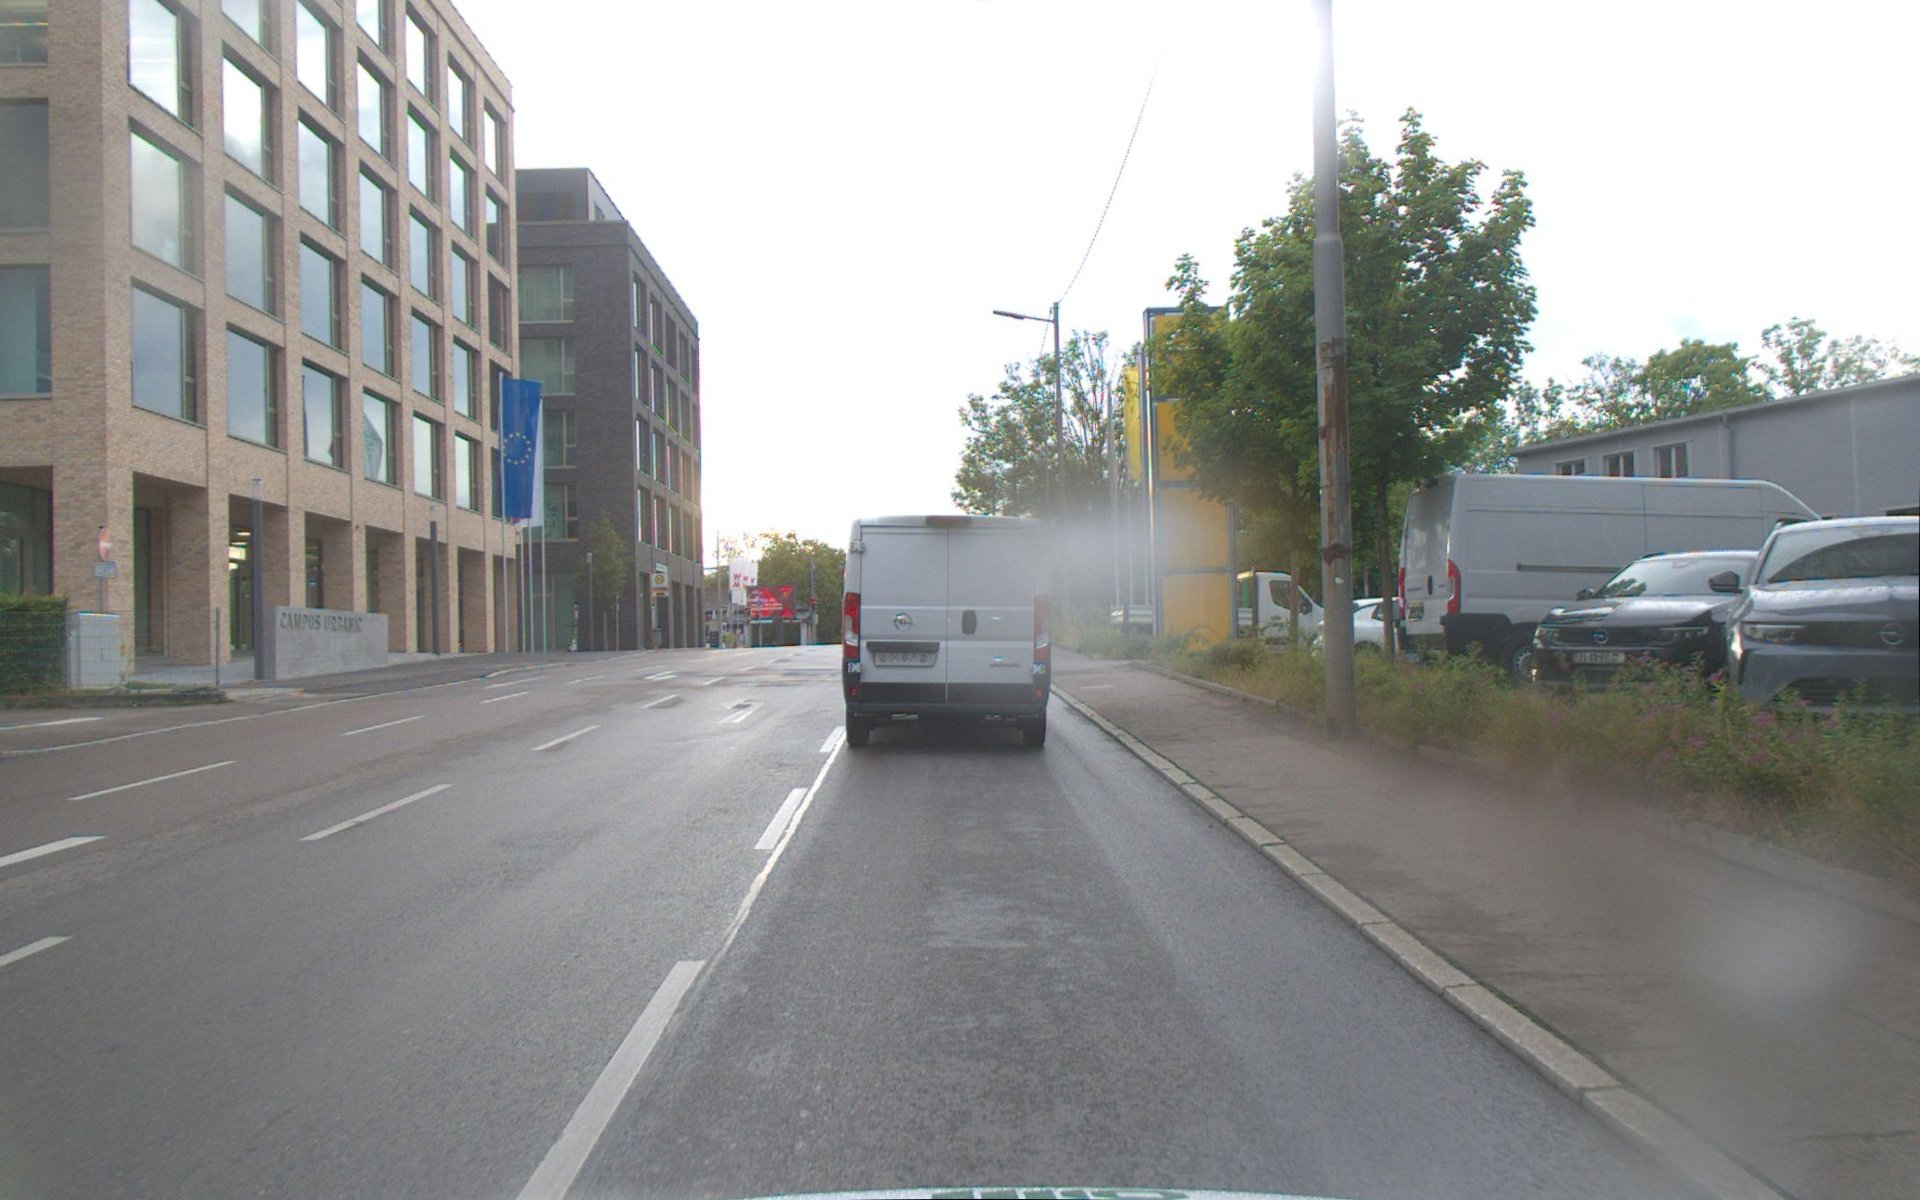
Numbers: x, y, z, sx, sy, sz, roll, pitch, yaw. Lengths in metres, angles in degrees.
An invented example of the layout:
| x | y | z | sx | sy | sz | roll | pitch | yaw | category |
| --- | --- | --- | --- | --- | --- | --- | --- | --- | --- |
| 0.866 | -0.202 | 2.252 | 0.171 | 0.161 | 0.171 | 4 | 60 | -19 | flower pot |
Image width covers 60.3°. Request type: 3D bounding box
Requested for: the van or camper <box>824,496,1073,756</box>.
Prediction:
| x | y | z | sx | sy | sz | roll | pitch | yaw | category |
| --- | --- | --- | --- | --- | --- | --- | --- | --- | --- |
| -0.119 | 0.228 | 17.869 | 2.292 | 2.398 | 5.199 | 0 | 0 | 0 | van or camper |

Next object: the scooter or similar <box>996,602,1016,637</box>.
| x | y | z | sx | sy | sz | roll | pitch | yaw | category |
| --- | --- | --- | --- | --- | --- | --- | --- | --- | --- |
| 2.146 | 0.895 | 77.064 | 0.428 | 1.615 | 1.263 | 0 | 0 | -23 | scooter or similar |

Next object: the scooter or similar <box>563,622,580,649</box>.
| x | y | z | sx | sy | sz | roll | pitch | yaw | category |
| --- | --- | --- | --- | --- | --- | --- | --- | --- | --- |
| -16.146 | 1.485 | 68.759 | 0.343 | 1.090 | 1.428 | 0 | -2 | 0 | scooter or similar |

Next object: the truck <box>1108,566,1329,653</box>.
| x | y | z | sx | sy | sz | roll | pitch | yaw | category |
| --- | --- | --- | --- | --- | --- | --- | --- | --- | --- |
| 6.311 | 0.214 | 40.819 | 5.045 | 2.049 | 2.344 | 0 | 0 | -3 | truck |

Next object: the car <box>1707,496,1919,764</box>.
| x | y | z | sx | sy | sz | roll | pitch | yaw | category |
| --- | --- | --- | --- | --- | --- | --- | --- | --- | --- |
| 6.237 | 0.154 | 11.281 | 1.872 | 1.480 | 4.567 | -3 | -1 | 26 | car |

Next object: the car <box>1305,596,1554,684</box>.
| x | y | z | sx | sy | sz | roll | pitch | yaw | category |
| --- | --- | --- | --- | --- | --- | --- | --- | --- | --- |
| 8.309 | 0.687 | 29.503 | 3.905 | 1.453 | 1.895 | -1 | 0 | -1 | car |

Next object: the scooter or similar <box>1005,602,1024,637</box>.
| x | y | z | sx | sy | sz | roll | pitch | yaw | category |
| --- | --- | --- | --- | --- | --- | --- | --- | --- | --- |
| 2.552 | 0.905 | 77.249 | 0.428 | 1.592 | 1.264 | 0 | 0 | -23 | scooter or similar |

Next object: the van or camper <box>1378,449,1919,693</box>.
| x | y | z | sx | sy | sz | roll | pitch | yaw | category |
| --- | --- | --- | --- | --- | --- | --- | --- | --- | --- |
| 8.168 | -0.341 | 19.997 | 5.620 | 2.771 | 2.351 | 0 | 0 | -2 | van or camper |

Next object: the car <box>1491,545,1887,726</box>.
| x | y | z | sx | sy | sz | roll | pitch | yaw | category |
| --- | --- | --- | --- | --- | --- | --- | --- | --- | --- |
| 7.057 | 0.279 | 15.774 | 4.484 | 1.480 | 1.885 | -2 | -1 | -44 | car |
